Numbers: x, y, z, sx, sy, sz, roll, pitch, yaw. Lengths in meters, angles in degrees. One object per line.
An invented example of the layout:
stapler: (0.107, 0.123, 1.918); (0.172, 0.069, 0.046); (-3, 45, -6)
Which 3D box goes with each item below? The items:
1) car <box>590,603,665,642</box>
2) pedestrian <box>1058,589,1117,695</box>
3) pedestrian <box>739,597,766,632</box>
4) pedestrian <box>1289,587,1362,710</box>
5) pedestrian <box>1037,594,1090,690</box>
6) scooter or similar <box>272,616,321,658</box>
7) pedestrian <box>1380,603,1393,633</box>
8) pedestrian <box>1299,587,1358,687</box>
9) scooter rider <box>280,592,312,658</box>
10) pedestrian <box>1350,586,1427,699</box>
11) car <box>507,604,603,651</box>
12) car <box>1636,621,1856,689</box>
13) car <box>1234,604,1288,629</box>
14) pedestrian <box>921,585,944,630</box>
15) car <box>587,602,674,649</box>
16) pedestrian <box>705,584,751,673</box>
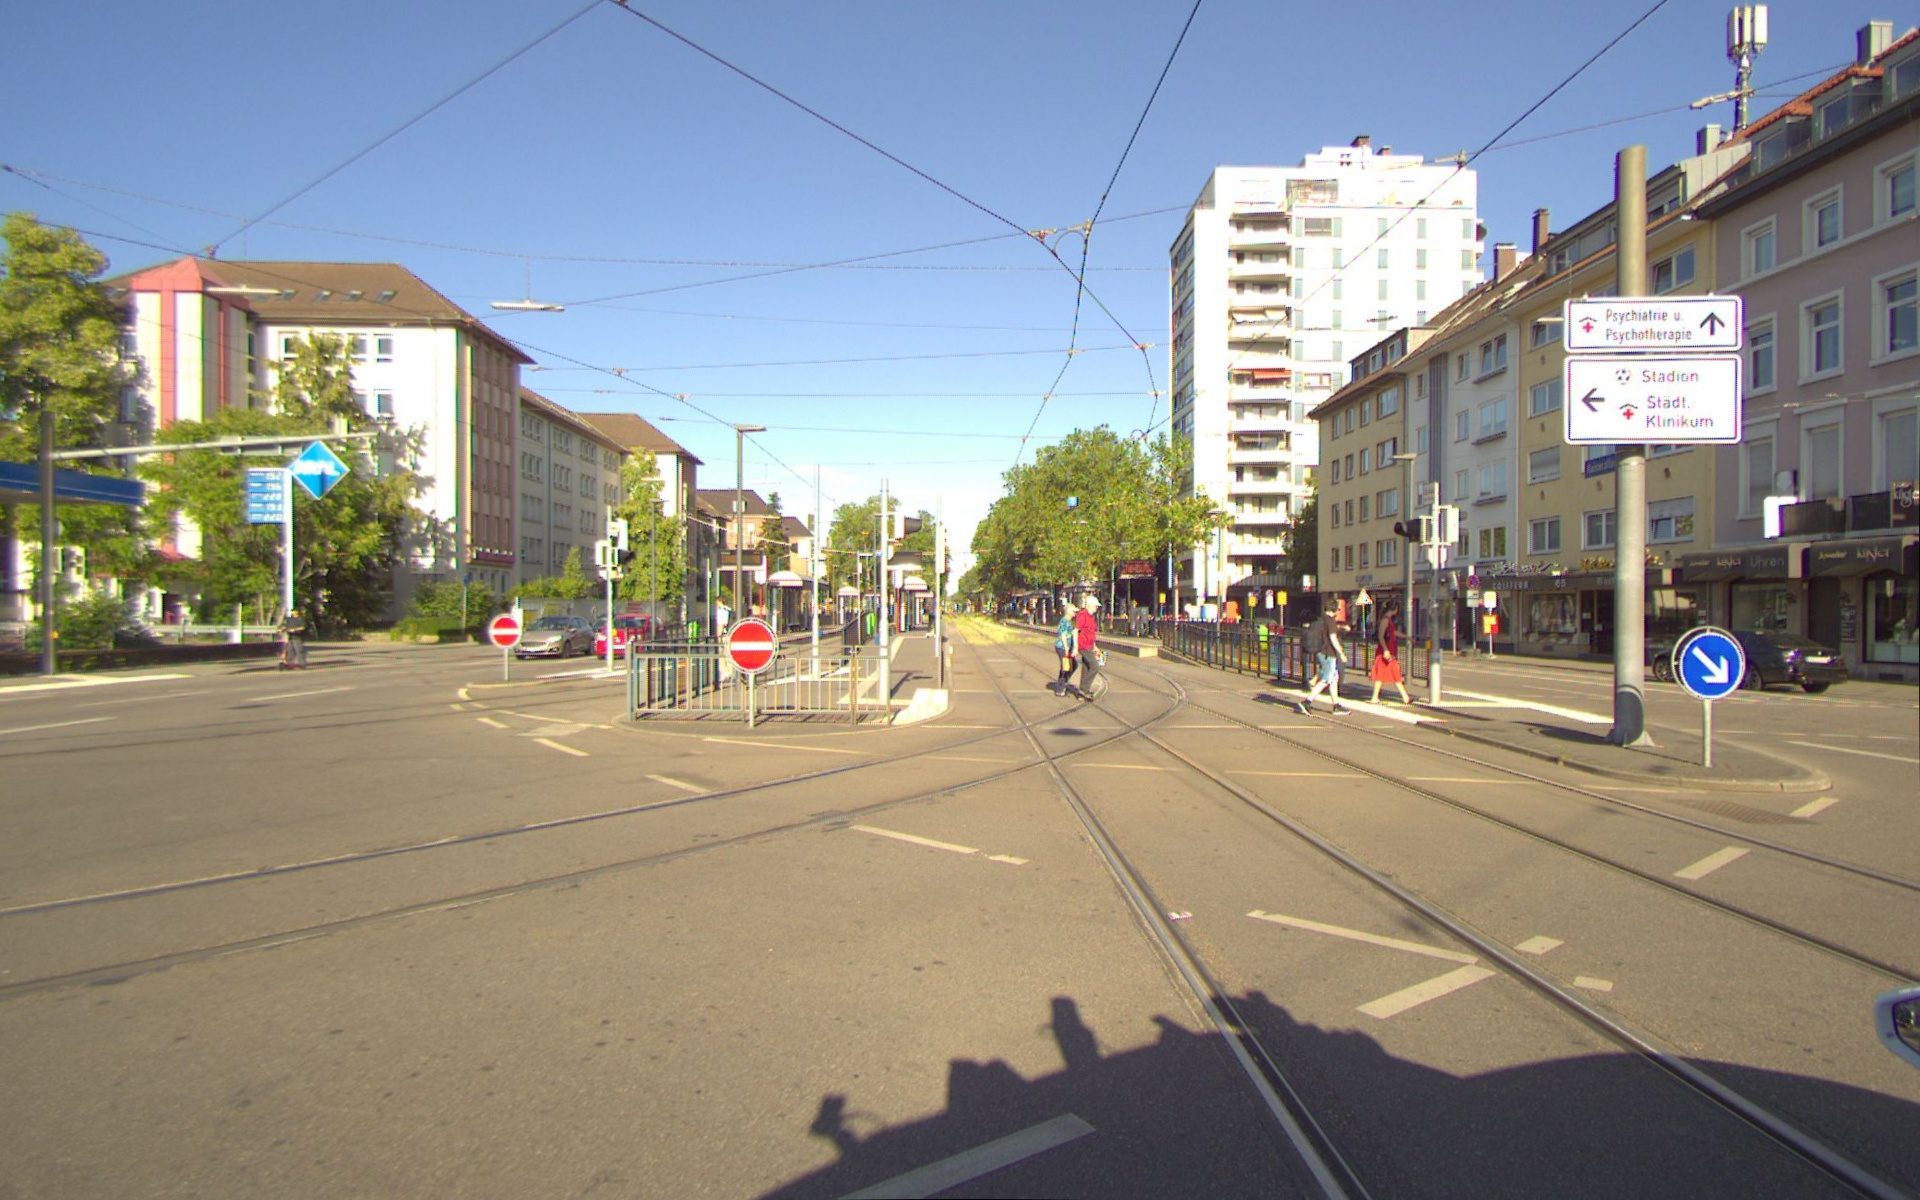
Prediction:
car: (-13.627, 0.889, 41.369); (1.708, 1.539, 4.000); (0, 0, 0)
pedestrian: (2.171, 0.694, 17.061); (0.832, 1.747, 0.825); (0, 0, 21)
pedestrian: (-8.722, 0.614, 42.232); (1.025, 1.439, 0.578); (0, 0, -6)
pedestrian: (5.379, 0.692, 14.798); (0.787, 1.756, 0.652); (0, 0, -12)
pedestrian: (1.854, 0.727, 17.925); (0.792, 1.652, 0.865); (0, 0, 16)
scooter or similar: (-19.580, 1.083, 29.660); (0.455, 1.198, 1.476); (0, 0, 0)
pedestrian: (22.782, 0.945, 53.599); (0.498, 1.583, 0.466); (0, 0, 2)
pedestrian: (6.637, 0.650, 18.116); (0.807, 1.756, 0.789); (0, 0, 5)
scooter rider: (-19.588, 0.717, 29.646); (0.455, 1.926, 0.692); (0, 0, 0)
pedestrian: (6.888, 0.666, 16.185); (0.887, 1.756, 0.841); (0, 0, 0)
car: (-14.024, 0.900, 35.015); (1.708, 1.539, 4.000); (0, 0, 0)
car: (19.545, 1.308, 25.299); (1.711, 1.459, 4.652); (0, 0, -3)
car: (18.603, 1.004, 62.237); (1.905, 1.449, 3.998); (0, 0, -3)
pedestrian: (-0.995, 0.262, 36.032); (0.584, 1.589, 0.731); (0, 0, 20)
car: (-11.200, 0.831, 34.436); (1.684, 1.506, 4.218); (0, 0, -1)
pedestrian: (-4.675, 0.571, 20.291); (0.808, 1.756, 0.788); (0, 0, -6)
